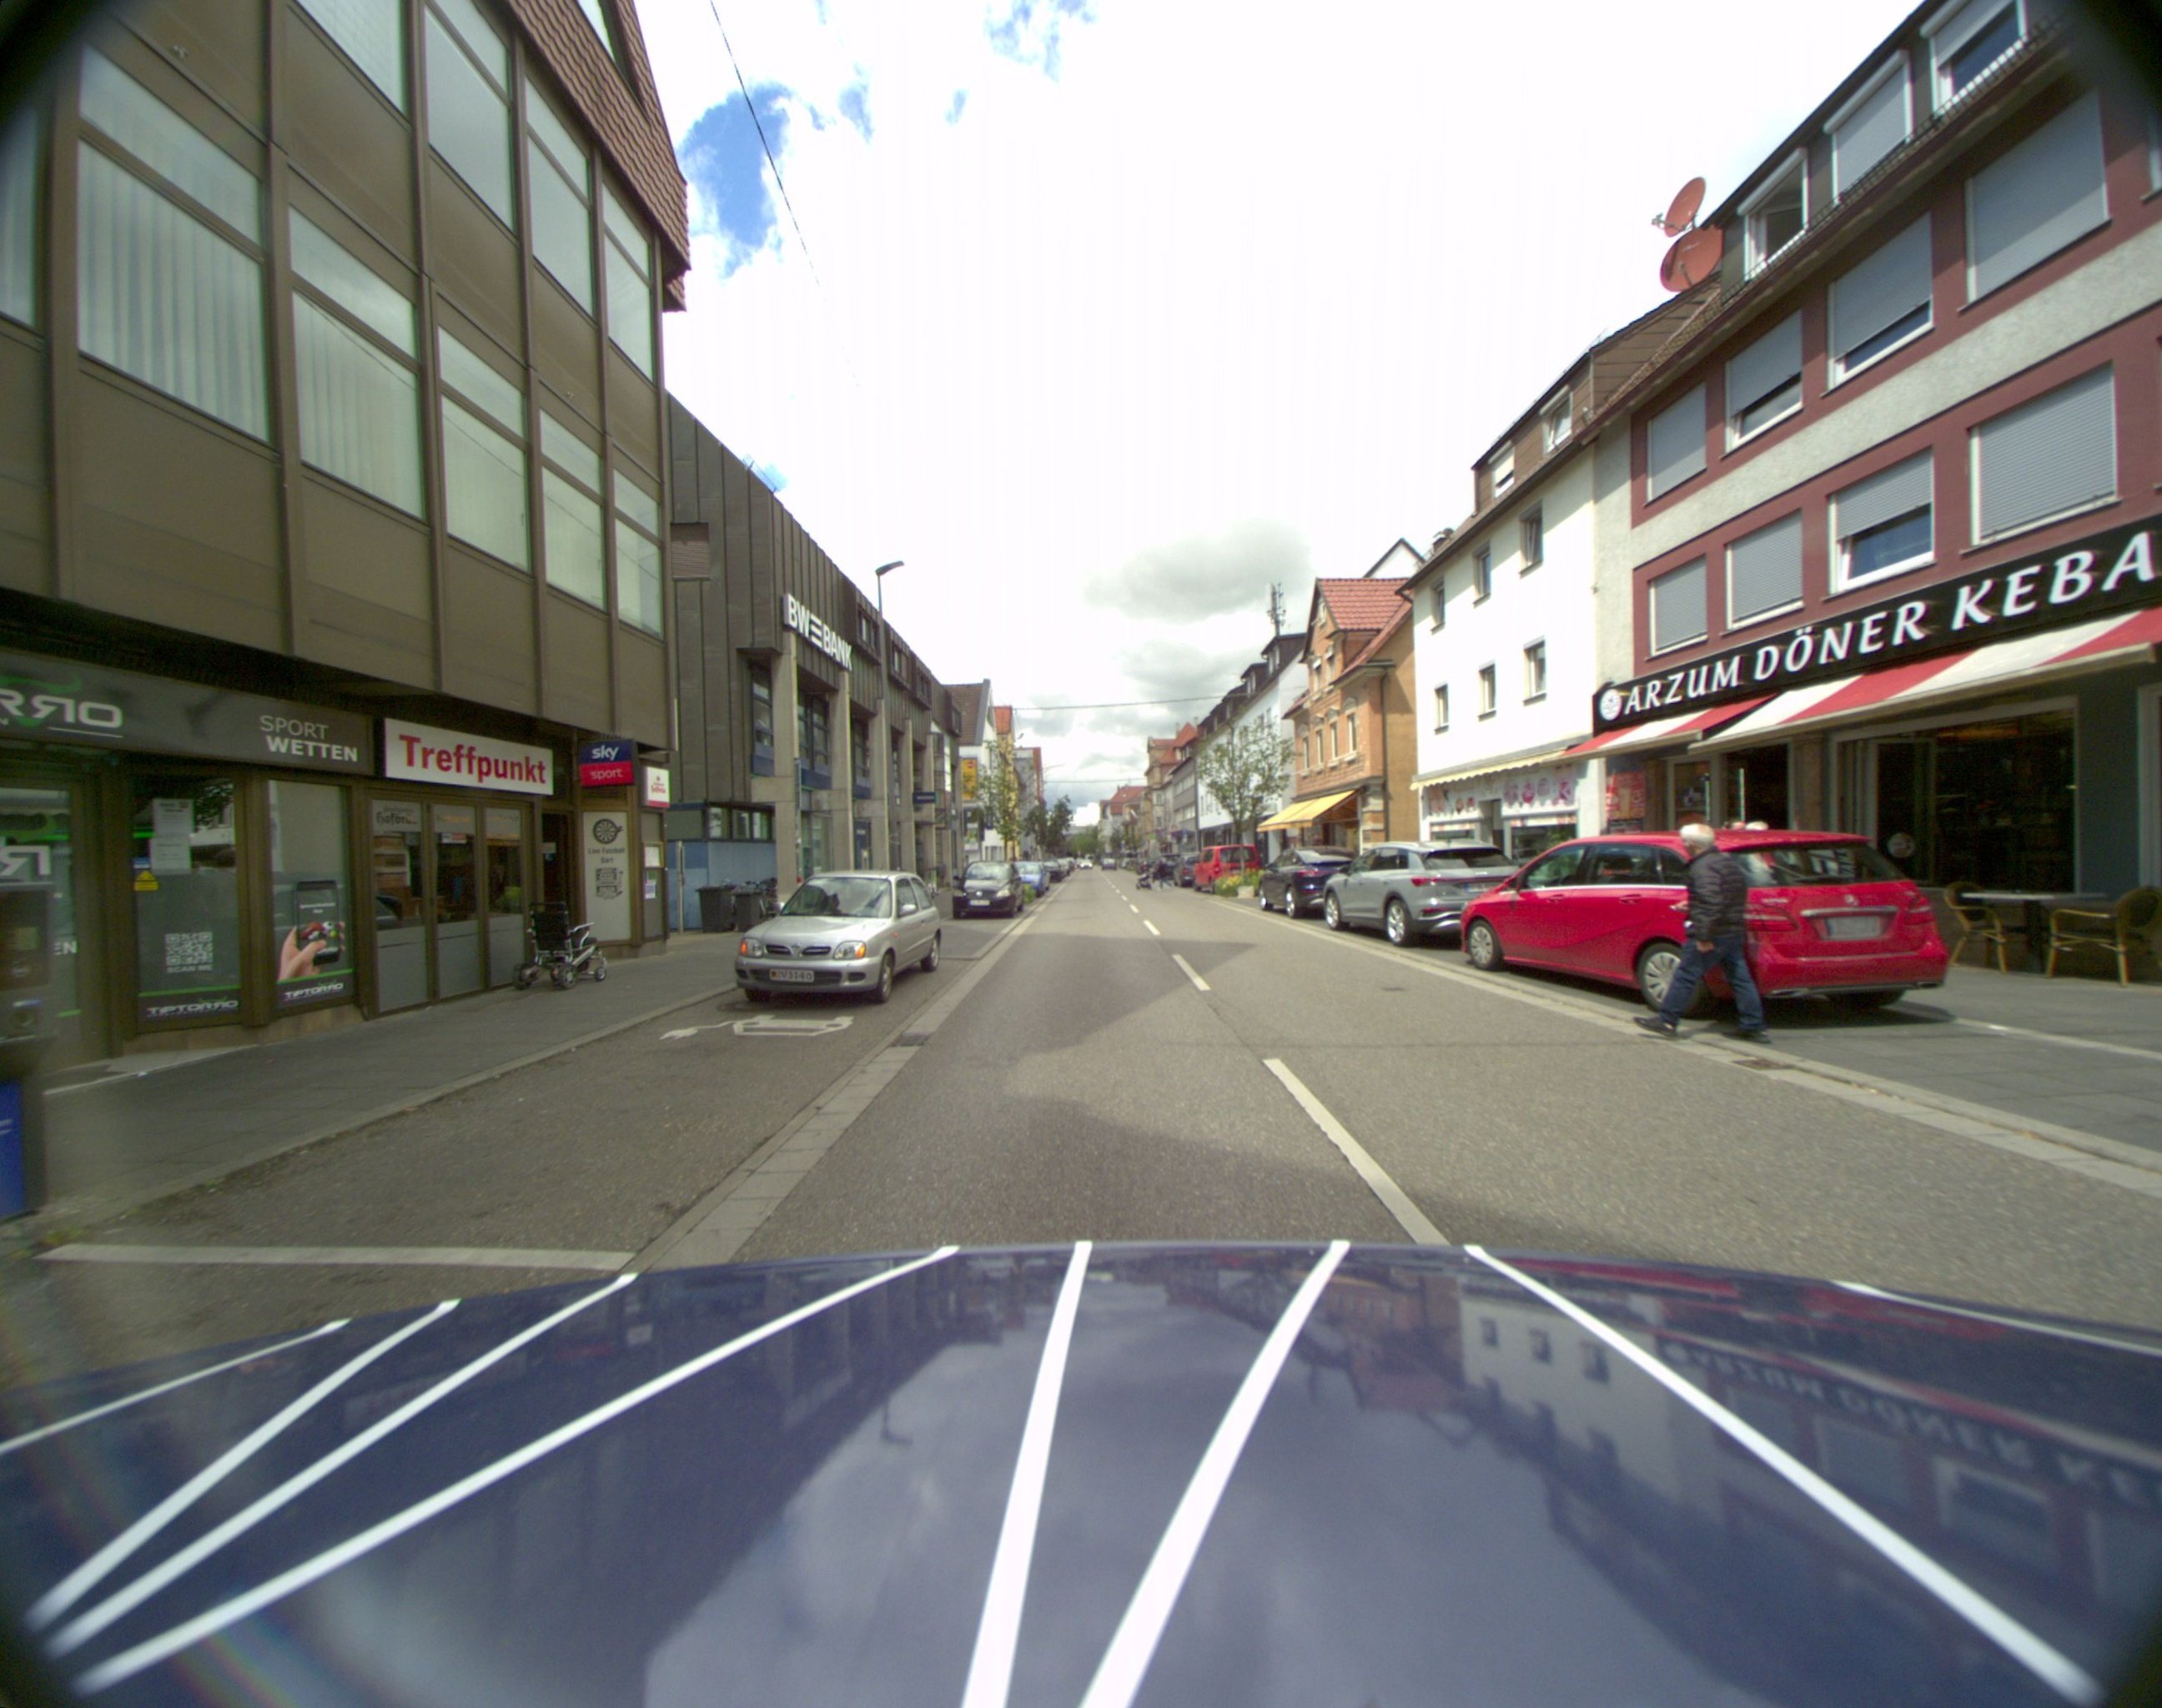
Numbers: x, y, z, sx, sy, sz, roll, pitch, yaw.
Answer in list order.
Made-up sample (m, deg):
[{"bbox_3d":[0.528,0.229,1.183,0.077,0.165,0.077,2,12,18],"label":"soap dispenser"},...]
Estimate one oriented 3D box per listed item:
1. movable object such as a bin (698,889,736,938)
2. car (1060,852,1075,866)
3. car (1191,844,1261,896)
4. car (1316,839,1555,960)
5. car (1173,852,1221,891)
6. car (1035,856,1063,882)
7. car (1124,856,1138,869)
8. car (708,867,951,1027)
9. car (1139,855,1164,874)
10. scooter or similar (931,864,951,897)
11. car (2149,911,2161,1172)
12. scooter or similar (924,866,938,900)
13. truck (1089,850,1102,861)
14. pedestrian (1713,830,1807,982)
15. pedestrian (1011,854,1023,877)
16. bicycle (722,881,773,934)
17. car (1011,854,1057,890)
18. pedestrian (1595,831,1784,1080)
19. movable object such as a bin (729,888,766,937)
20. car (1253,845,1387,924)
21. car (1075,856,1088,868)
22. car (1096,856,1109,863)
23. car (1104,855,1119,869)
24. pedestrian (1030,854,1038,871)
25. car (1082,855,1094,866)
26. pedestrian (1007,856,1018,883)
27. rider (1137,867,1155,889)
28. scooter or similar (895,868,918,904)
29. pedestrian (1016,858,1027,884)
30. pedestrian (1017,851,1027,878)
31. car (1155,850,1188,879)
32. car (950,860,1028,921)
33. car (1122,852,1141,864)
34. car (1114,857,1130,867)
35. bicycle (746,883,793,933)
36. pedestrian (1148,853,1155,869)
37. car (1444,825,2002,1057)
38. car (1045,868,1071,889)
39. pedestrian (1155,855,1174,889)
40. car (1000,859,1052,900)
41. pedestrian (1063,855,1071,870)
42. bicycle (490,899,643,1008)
[{"bbox_3d":[-7.969,1.297,16.642,0.488,0.993,0.554,-3,1,3],"label":"movable object such as a bin"},{"bbox_3d":[-1.643,0.615,92.441,1.804,1.594,4.203,0,0,-1],"label":"car"},{"bbox_3d":[5.848,0.567,31.186,1.821,1.878,4.840,-3,1,-1],"label":"car"},{"bbox_3d":[5.512,0.625,12.548,1.804,1.594,4.350,-1,0,-1],"label":"car"},{"bbox_3d":[5.860,0.837,38.821,1.820,1.745,4.464,-3,1,2],"label":"car"},{"bbox_3d":[-2.134,0.984,52.201,1.726,1.567,4.108,-3,1,-1],"label":"car"},{"bbox_3d":[6.438,1.066,97.643,1.589,1.406,3.668,-3,1,2],"label":"car"},{"bbox_3d":[-2.841,0.959,9.483,1.613,1.486,3.795,2,0,2],"label":"car"},{"bbox_3d":[6.342,0.927,68.567,1.794,1.494,4.177,-3,0,0],"label":"car"},{"bbox_3d":[-5.778,1.077,31.405,0.423,1.238,1.561,-3,1,0],"label":"scooter or similar"},{"bbox_3d":[5.697,0.805,1.135,1.823,1.216,4.523,-4,0,1],"label":"car"},{"bbox_3d":[-5.807,1.109,29.485,0.406,1.238,1.324,-3,1,-9],"label":"scooter or similar"},{"bbox_3d":[3.272,0.342,169.758,2.113,2.292,6.472,-3,1,-5],"label":"truck"},{"bbox_3d":[7.627,0.564,8.554,0.502,1.638,0.574,-3,1,2],"label":"pedestrian"},{"bbox_3d":[-4.896,0.904,58.382,0.743,1.727,0.757,-3,1,1],"label":"pedestrian"},{"bbox_3d":[-7.836,1.233,17.921,0.426,1.113,1.502,-3,1,3],"label":"bicycle"},{"bbox_3d":[-2.320,0.877,38.626,1.725,1.567,4.429,5,0,2],"label":"car"},{"bbox_3d":[4.318,0.678,5.452,0.688,1.638,0.779,-3,1,3],"label":"pedestrian"},{"bbox_3d":[-7.301,1.272,16.633,0.488,0.993,0.554,-3,1,3],"label":"movable object such as a bin"},{"bbox_3d":[5.491,0.647,18.040,1.804,1.588,4.389,-2,0,1],"label":"car"},{"bbox_3d":[0.093,1.013,101.880,1.724,1.517,3.598,-1,0,1],"label":"car"},{"bbox_3d":[4.444,1.163,157.060,1.723,1.296,4.463,-1,-1,-9],"label":"car"},{"bbox_3d":[3.976,1.018,99.620,1.910,1.554,4.645,-3,1,1],"label":"car"},{"bbox_3d":[-4.377,0.804,70.873,0.751,1.544,0.726,-1,1,0],"label":"pedestrian"},{"bbox_3d":[1.052,0.981,114.647,1.804,1.594,4.203,0,0,-1],"label":"car"},{"bbox_3d":[-4.853,1.108,53.770,0.589,1.830,0.576,-3,1,1],"label":"pedestrian"},{"bbox_3d":[3.073,1.132,36.021,0.805,1.007,0.707,-3,1,3],"label":"rider"},{"bbox_3d":[-6.492,1.175,28.373,0.423,1.238,1.561,-3,1,0],"label":"scooter or similar"},{"bbox_3d":[-4.269,1.211,54.387,0.589,1.830,0.576,-3,1,1],"label":"pedestrian"},{"bbox_3d":[-4.166,0.754,53.731,0.589,1.830,0.576,-3,1,1],"label":"pedestrian"},{"bbox_3d":[6.076,0.689,51.397,1.820,1.745,4.669,-3,1,3],"label":"car"},{"bbox_3d":[-2.492,0.955,21.402,1.613,1.523,3.795,0,0,2],"label":"car"},{"bbox_3d":[6.182,0.473,93.317,1.602,1.437,3.555,-2,0,-7],"label":"car"},{"bbox_3d":[5.879,1.125,108.822,1.850,1.390,4.035,-3,1,-2],"label":"car"},{"bbox_3d":[-7.344,1.249,17.974,0.426,1.075,1.502,-1,0,3],"label":"bicycle"},{"bbox_3d":[7.876,0.739,85.078,0.549,1.747,0.728,-3,1,-2],"label":"pedestrian"},{"bbox_3d":[5.575,0.615,7.490,1.804,1.594,4.217,-1,0,-3],"label":"car"},{"bbox_3d":[-1.807,1.940,60.881,1.725,1.467,4.354,-3,1,2],"label":"car"},{"bbox_3d":[3.920,0.842,35.741,0.807,1.565,0.779,-3,1,3],"label":"pedestrian"},{"bbox_3d":[-2.277,1.048,32.665,1.725,1.485,4.109,-3,1,2],"label":"car"},{"bbox_3d":[-1.704,1.008,95.080,0.978,1.853,0.864,0,1,-1],"label":"pedestrian"},{"bbox_3d":[-6.018,1.127,8.996,0.722,1.041,1.476,-3,1,1],"label":"bicycle"}]
